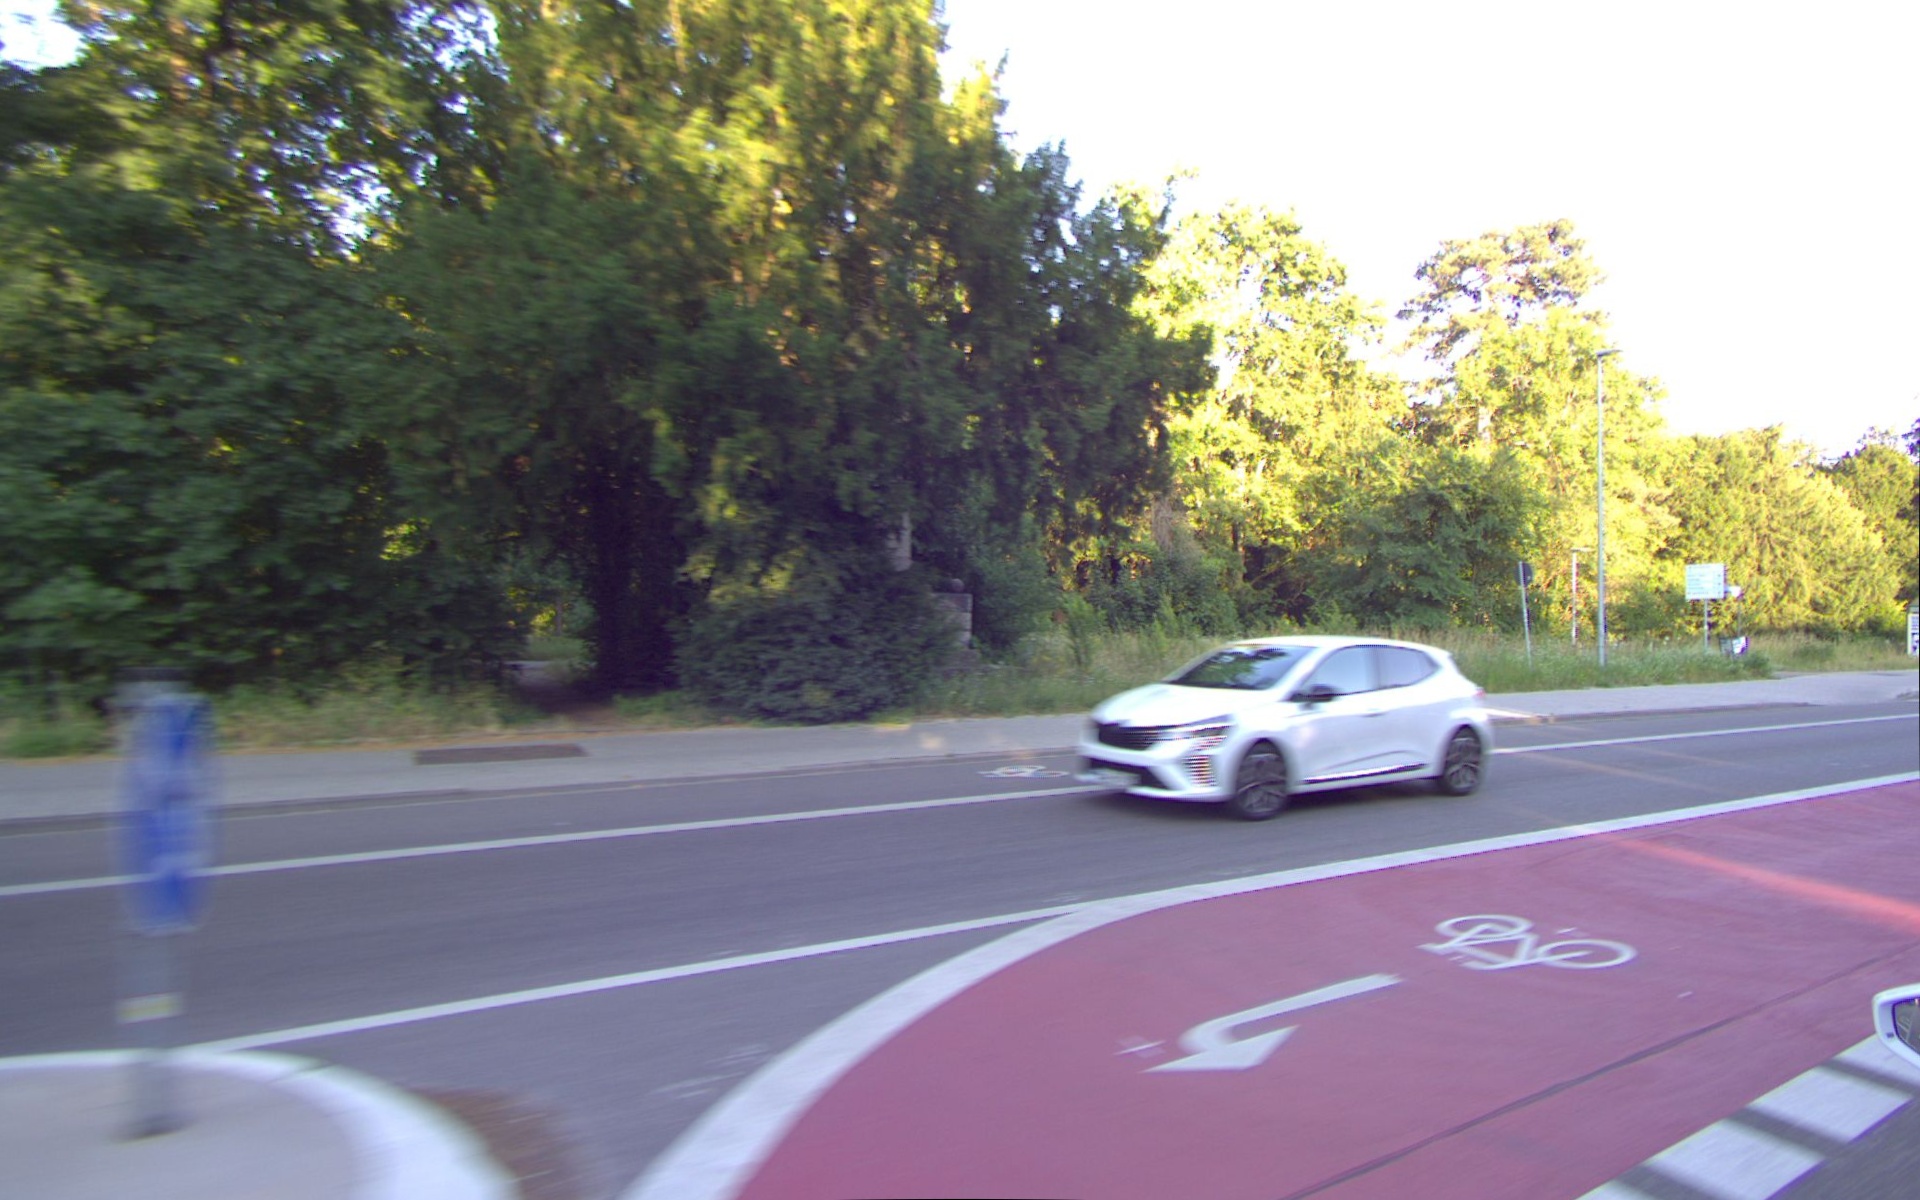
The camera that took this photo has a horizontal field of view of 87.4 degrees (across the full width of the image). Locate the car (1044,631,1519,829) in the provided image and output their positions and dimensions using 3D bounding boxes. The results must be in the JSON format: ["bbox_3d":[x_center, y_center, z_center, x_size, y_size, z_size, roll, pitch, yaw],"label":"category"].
[{"bbox_3d":[2.981,1.012,9.154,4.130,1.432,1.838,1,-2,-30],"label":"car"}]
